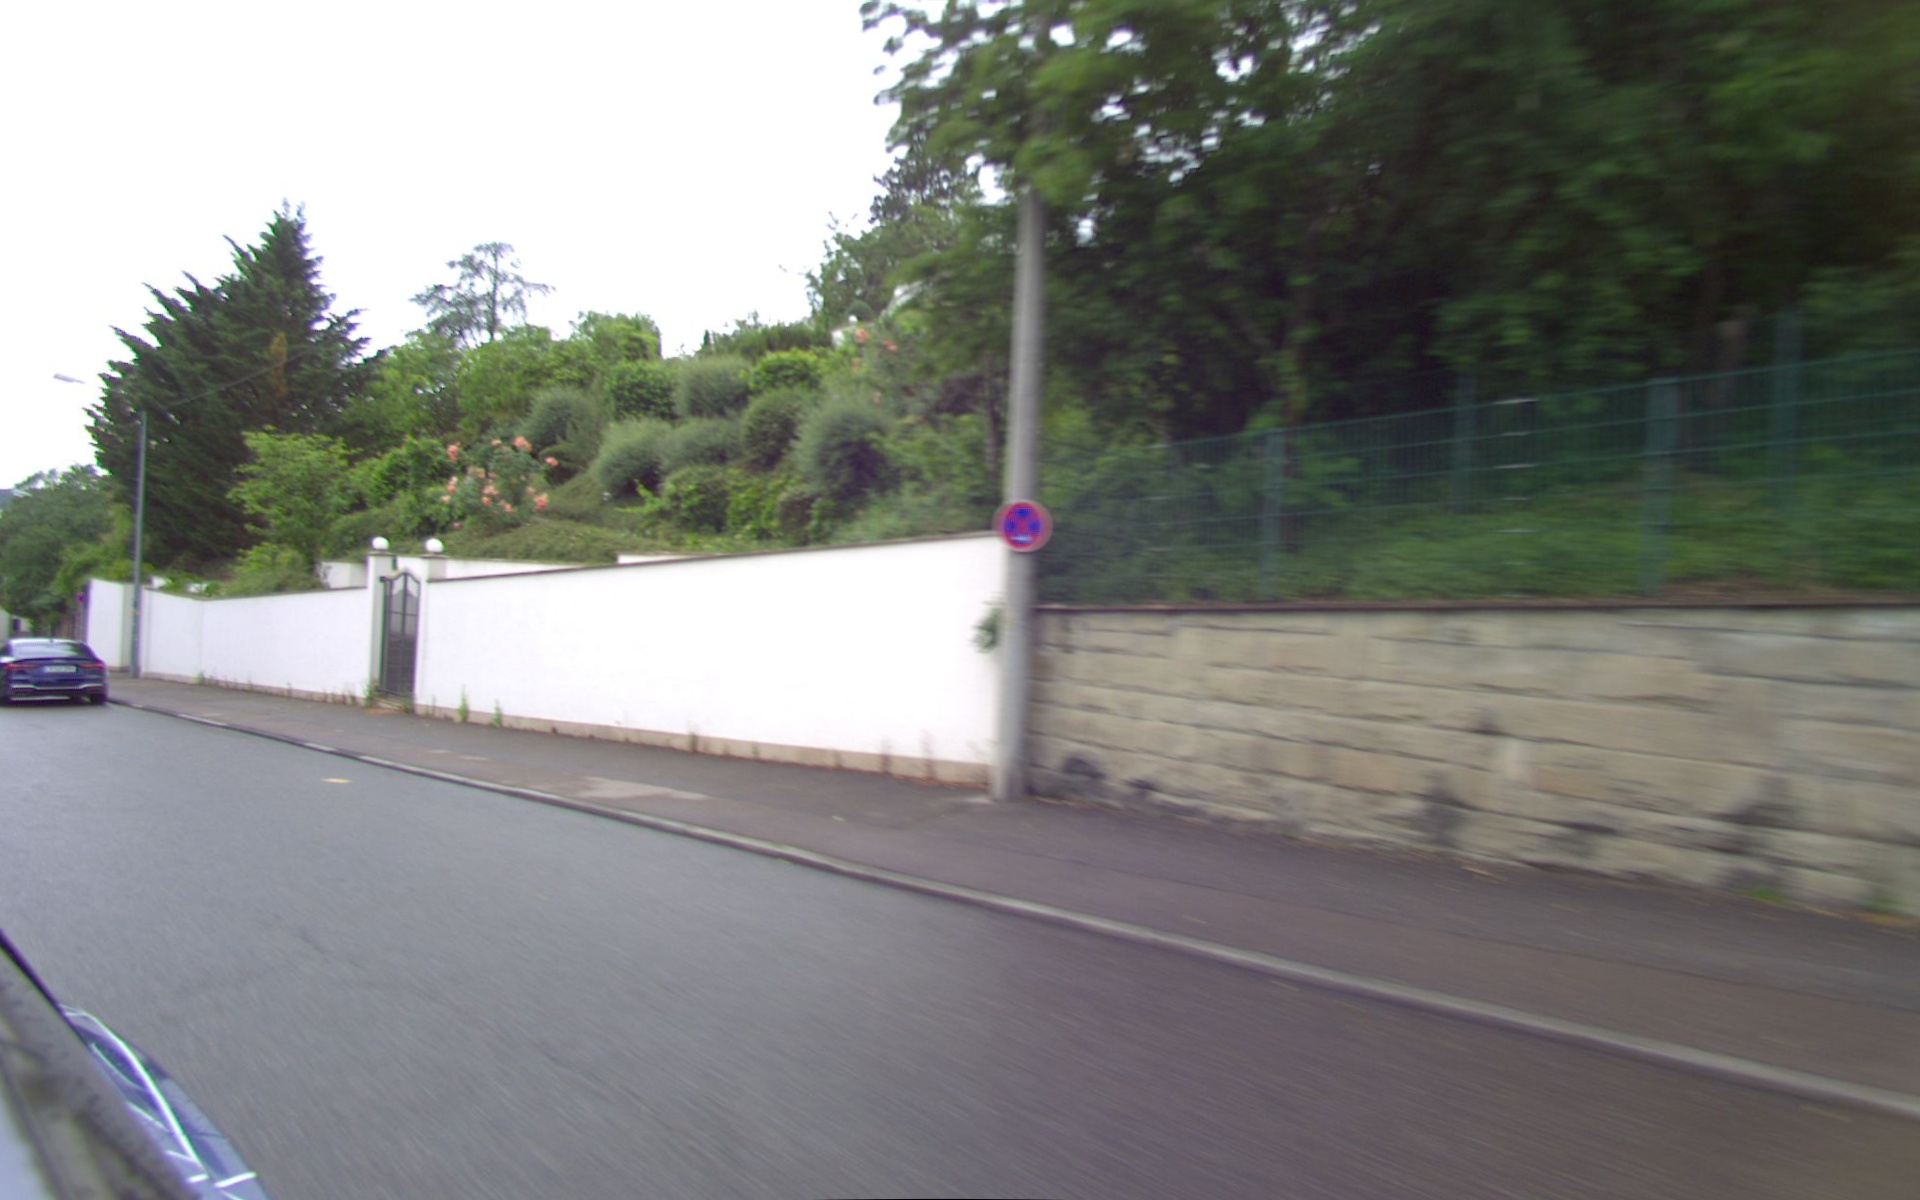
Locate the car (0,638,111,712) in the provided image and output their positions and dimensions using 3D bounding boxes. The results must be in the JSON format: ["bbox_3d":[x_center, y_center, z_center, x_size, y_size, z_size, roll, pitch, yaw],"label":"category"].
[{"bbox_3d":[-20.004,1.554,21.930,4.252,1.441,1.788,-2,-3,41],"label":"car"}]
